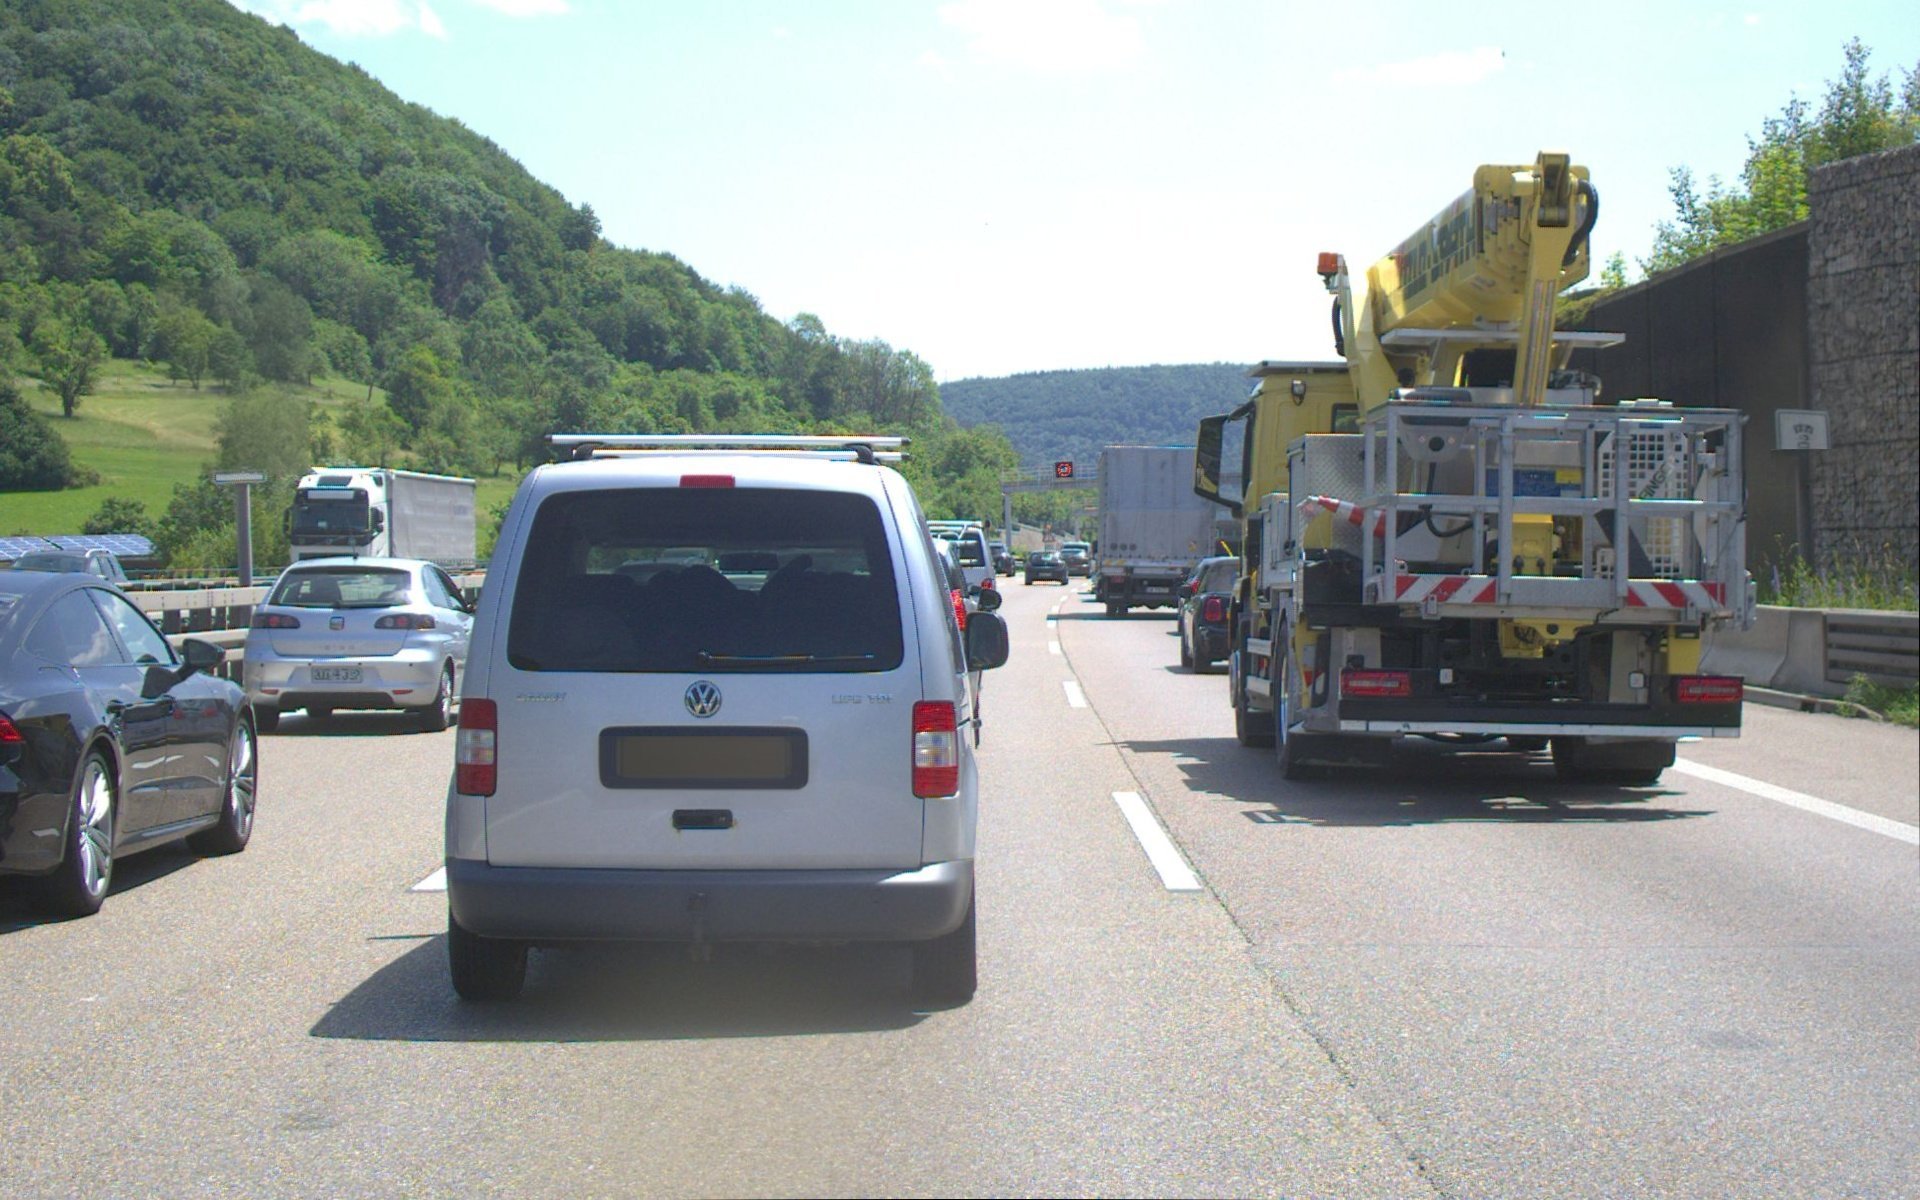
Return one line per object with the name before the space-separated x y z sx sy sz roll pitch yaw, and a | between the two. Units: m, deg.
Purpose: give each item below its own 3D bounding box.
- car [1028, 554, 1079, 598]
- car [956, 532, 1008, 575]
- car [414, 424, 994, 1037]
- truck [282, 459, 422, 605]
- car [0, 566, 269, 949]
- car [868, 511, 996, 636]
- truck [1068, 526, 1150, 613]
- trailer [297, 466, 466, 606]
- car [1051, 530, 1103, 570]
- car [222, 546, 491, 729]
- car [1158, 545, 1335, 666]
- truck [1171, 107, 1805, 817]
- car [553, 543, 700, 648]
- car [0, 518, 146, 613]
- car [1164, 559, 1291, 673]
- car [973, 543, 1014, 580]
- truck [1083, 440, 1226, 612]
car | 3.774 -0.981 139.146 1.993 1.743 4.000 1 0 1
car | 0.955 -2.046 152.303 2.114 1.821 4.000 1 0 -2
car | -0.842 0.363 12.468 1.756 1.861 4.000 0 1 -2
truck | -18.285 -2.000 103.834 2.798 4.217 7.231 1 0 1
car | -4.401 0.561 15.184 1.800 1.385 4.970 0 1 -1
car | -0.493 -0.447 56.210 1.993 1.969 4.000 0 1 -2
truck | 4.472 -0.951 103.364 2.390 2.532 5.939 0 1 2
trailer | -18.315 -1.970 109.814 2.855 4.177 13.615 1 0 1
car | 5.493 -2.356 161.870 2.114 1.821 4.000 1 0 -2
car | -5.054 0.267 29.219 1.695 1.440 3.862 0 1 -2
car | 3.562 0.037 43.320 1.786 1.453 3.771 0 1 -2
truck | 3.204 -0.838 23.440 2.703 3.929 8.723 0 1 -2
car | -4.916 -0.097 51.144 1.924 1.494 4.000 1 1 -2
car | -15.693 -0.619 60.373 1.849 1.604 4.079 0 1 -1
car | 4.886 0.258 63.290 1.993 2.007 4.000 0 1 -1
car | 1.689 -1.950 174.504 1.993 1.799 4.000 1 0 -1
truck | 4.469 -1.679 80.661 2.940 3.810 8.236 1 0 1
